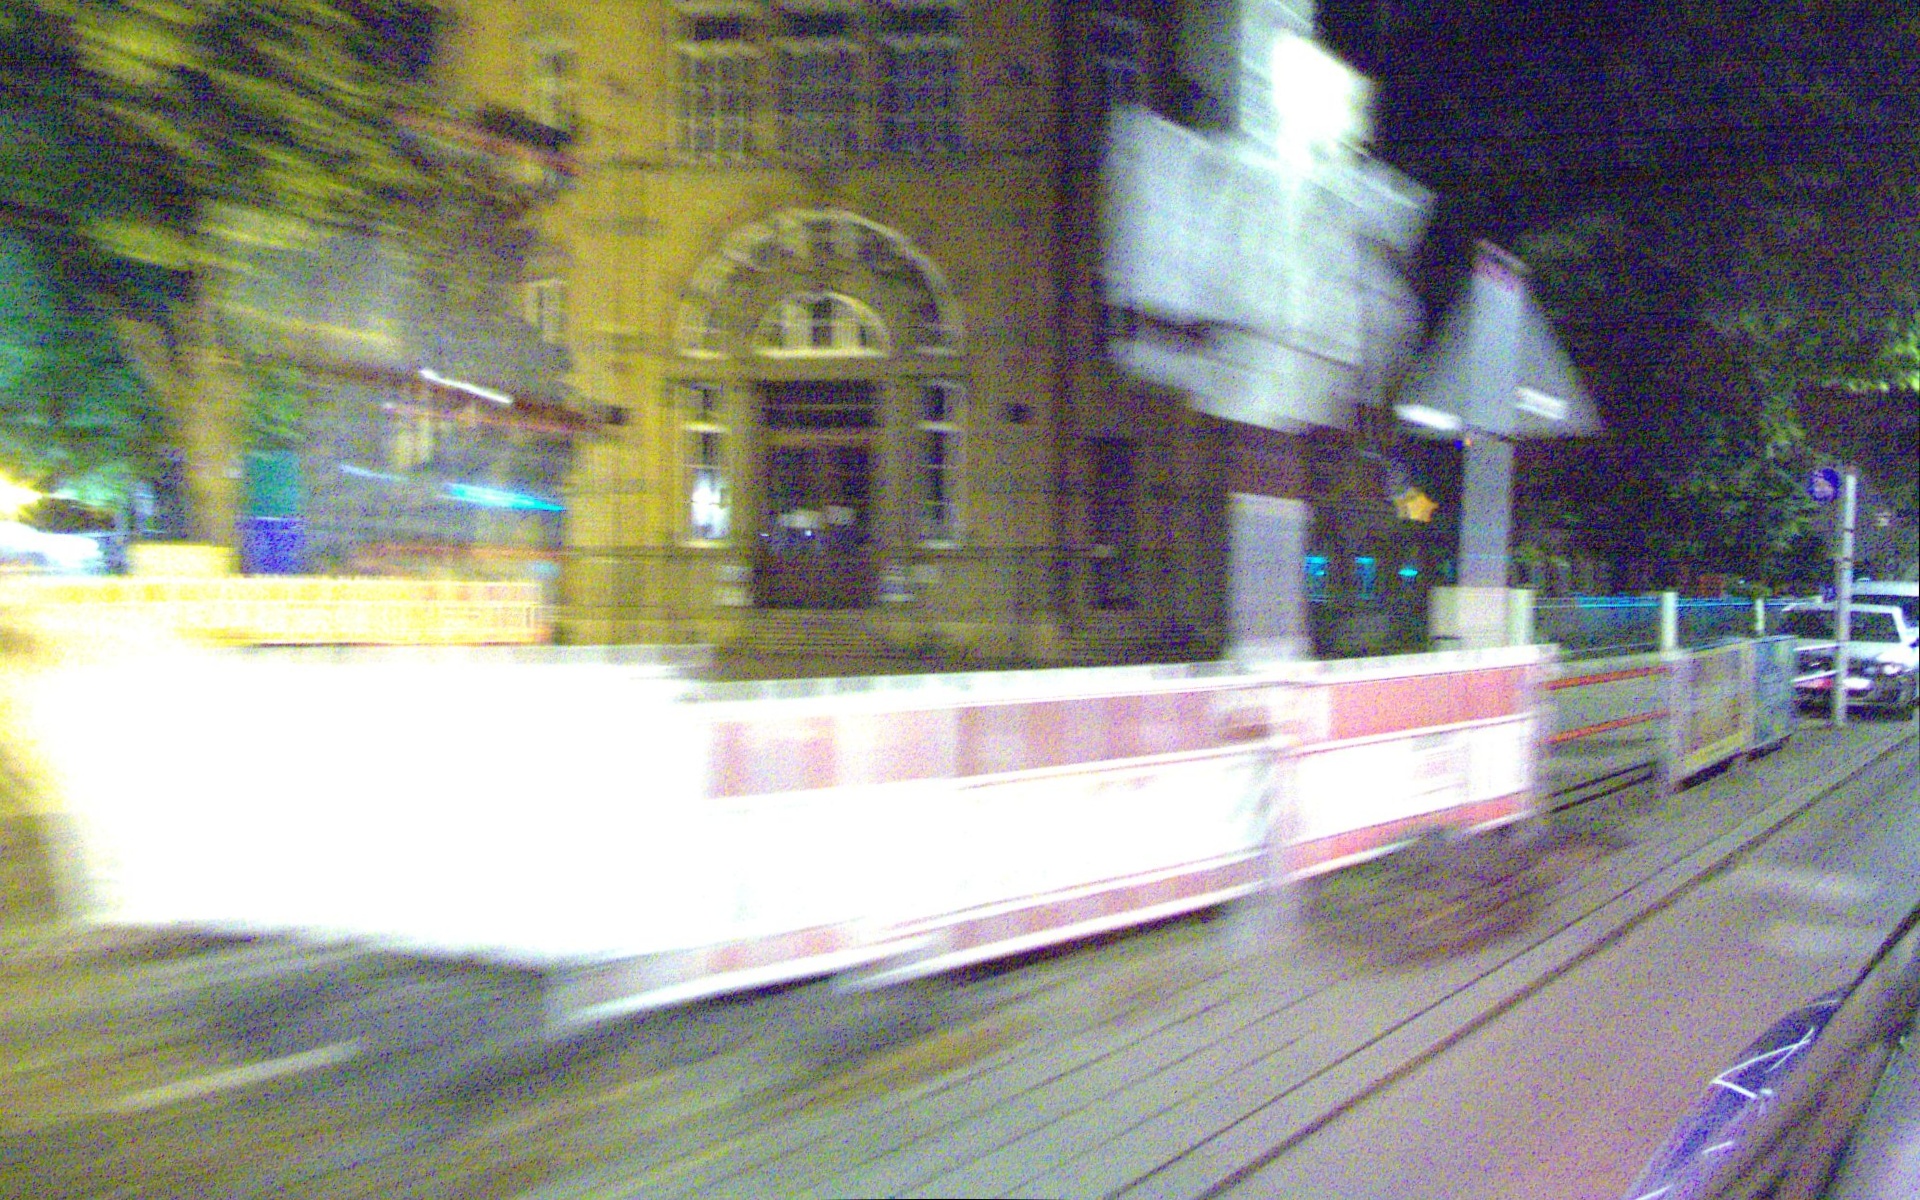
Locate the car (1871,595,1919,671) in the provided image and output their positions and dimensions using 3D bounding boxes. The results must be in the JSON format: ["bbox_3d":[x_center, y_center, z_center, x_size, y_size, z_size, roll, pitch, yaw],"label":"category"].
[{"bbox_3d":[20.343,0.656,20.920,4.365,1.438,1.689,0,2,-41],"label":"car"}]

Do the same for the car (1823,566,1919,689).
[{"bbox_3d":[16.140,0.422,17.162,4.242,1.878,1.738,0,2,-42],"label":"car"}]

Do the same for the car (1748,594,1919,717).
[{"bbox_3d":[12.524,0.658,14.139,4.250,1.436,1.729,0,1,-43],"label":"car"}]

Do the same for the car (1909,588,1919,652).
[{"bbox_3d":[24.486,0.520,24.476,3.929,1.495,1.744,0,4,-40],"label":"car"}]
